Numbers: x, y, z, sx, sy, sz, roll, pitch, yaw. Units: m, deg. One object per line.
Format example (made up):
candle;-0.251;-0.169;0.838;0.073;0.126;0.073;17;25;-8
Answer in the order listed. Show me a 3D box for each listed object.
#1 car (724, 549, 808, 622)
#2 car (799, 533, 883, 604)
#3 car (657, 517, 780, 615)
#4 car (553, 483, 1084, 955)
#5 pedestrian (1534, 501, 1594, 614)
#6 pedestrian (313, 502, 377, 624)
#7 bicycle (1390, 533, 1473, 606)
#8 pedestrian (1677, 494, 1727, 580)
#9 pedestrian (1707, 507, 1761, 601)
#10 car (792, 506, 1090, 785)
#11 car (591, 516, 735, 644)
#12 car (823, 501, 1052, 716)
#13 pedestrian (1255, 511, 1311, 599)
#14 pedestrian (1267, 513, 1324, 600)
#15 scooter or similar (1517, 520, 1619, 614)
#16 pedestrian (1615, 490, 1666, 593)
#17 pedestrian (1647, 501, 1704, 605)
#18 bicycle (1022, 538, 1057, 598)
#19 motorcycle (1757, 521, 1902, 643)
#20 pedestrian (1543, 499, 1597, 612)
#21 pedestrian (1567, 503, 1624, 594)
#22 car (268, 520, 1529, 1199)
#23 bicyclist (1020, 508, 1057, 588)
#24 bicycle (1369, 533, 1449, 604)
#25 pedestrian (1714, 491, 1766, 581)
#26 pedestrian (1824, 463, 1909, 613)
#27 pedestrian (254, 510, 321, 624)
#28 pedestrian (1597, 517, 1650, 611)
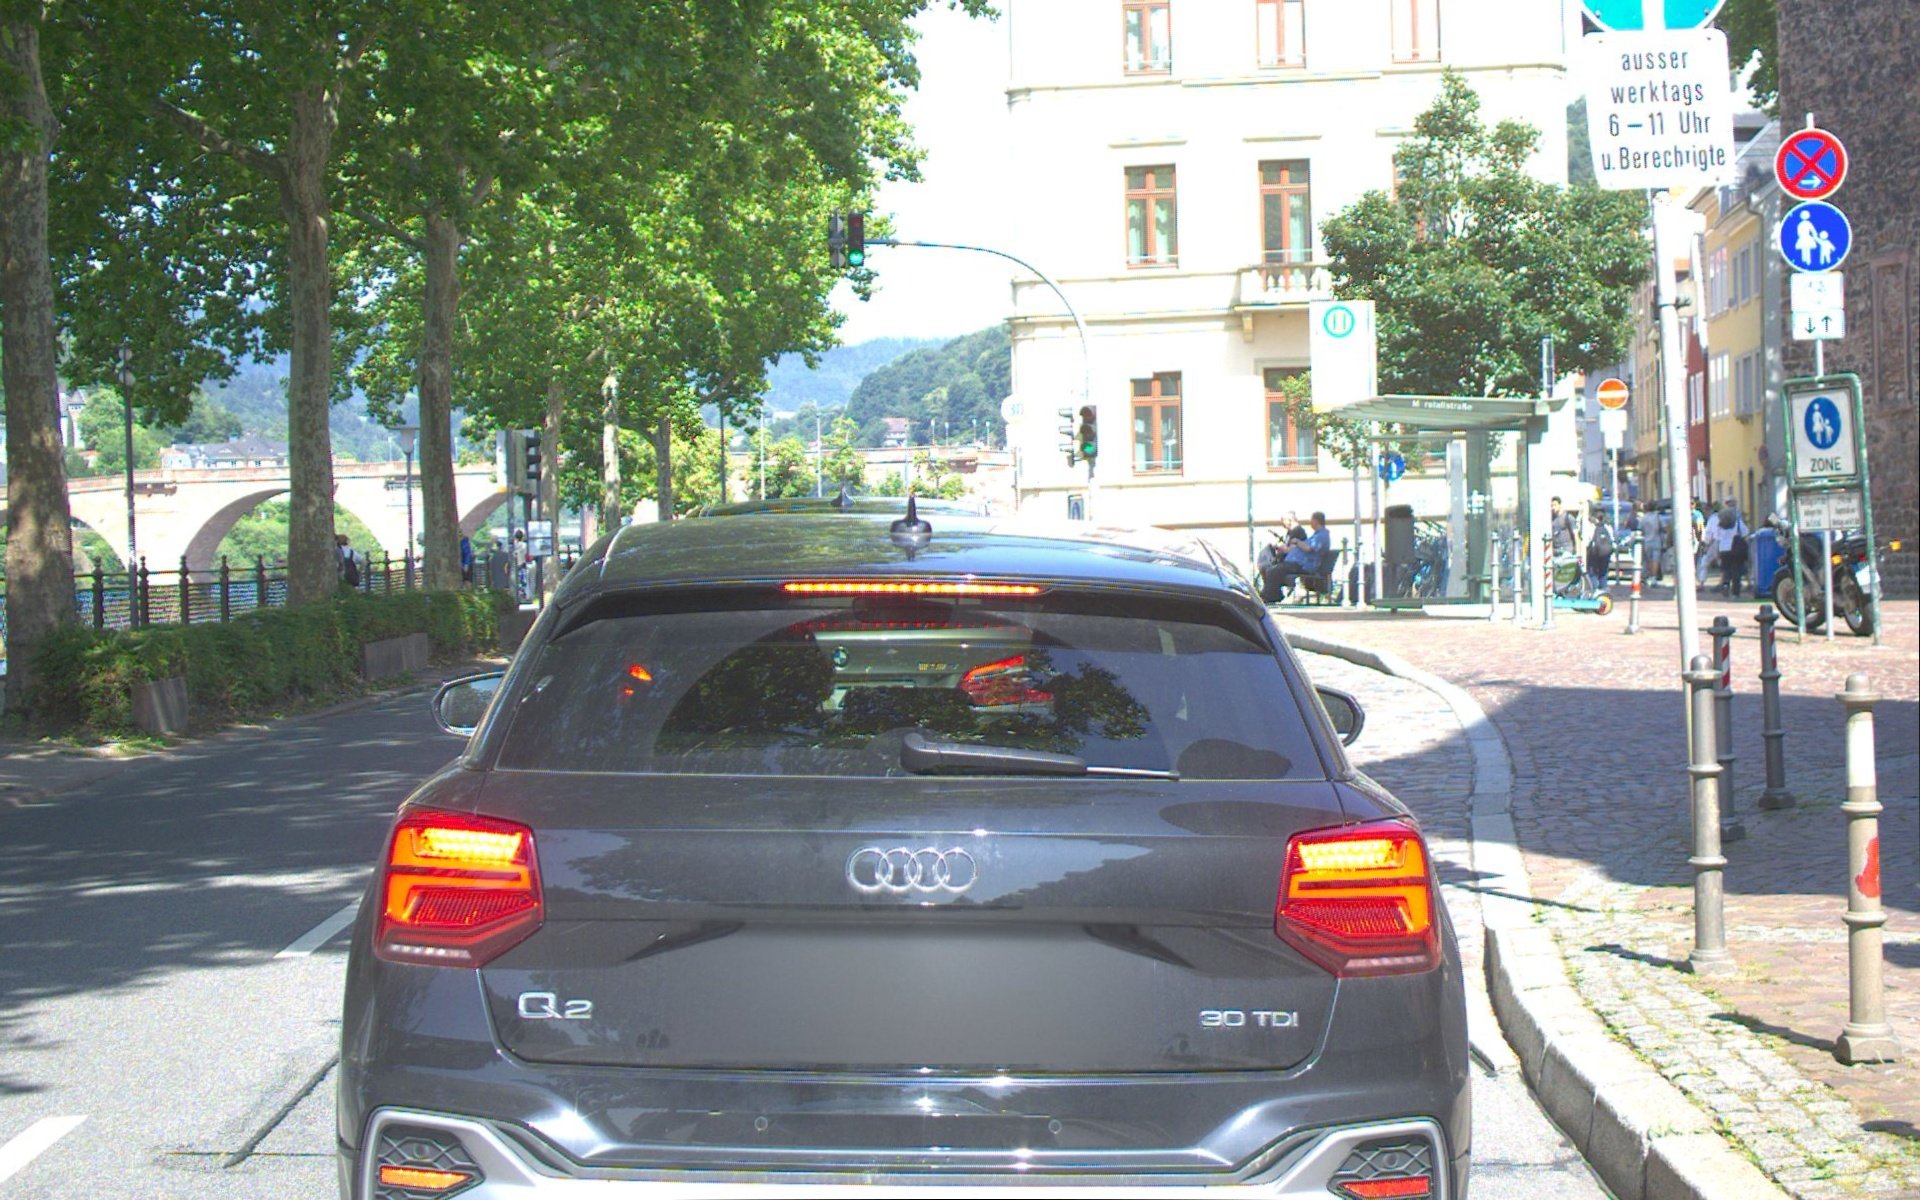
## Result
car;-4.680;-0.371;83.491;1.738;1.566;4.092;-4;1;0
car;-3.100;-0.825;90.455;1.993;1.800;4.000;1;0;1
car;-4.505;-0.665;64.590;1.769;1.654;4.000;-4;1;2
car;-0.504;0.372;13.464;1.793;1.589;3.399;1;1;-1
pedestrian;10.180;-0.722;57.958;0.749;1.884;0.751;0;1;32
pedestrian;-10.261;-0.614;57.346;0.911;2.007;0.585;1;0;4
bicycle;6.714;-0.433;48.973;1.201;1.031;0.179;1;0;-19
pedestrian;13.803;-1.171;63.976;0.776;1.559;0.645;-2;1;5
pedestrian;13.697;-0.815;60.822;0.692;1.607;0.890;-2;1;25
car;-0.130;0.224;21.630;1.710;1.603;3.655;0;1;-1
car;-4.224;-0.324;49.386;1.673;1.654;4.223;-4;1;-1
car;-0.200;0.026;29.111;1.794;1.676;4.000;1;1;-1
pedestrian;4.591;-0.638;48.913;0.663;1.227;0.641;1;0;-6
pedestrian;4.698;-0.605;48.191;0.663;1.207;0.641;1;0;-6
scooter or similar;6.964;-0.376;39.402;1.088;1.062;0.323;1;0;-2
pedestrian;13.446;-1.158;67.925;0.839;2.007;0.738;1;0;0
pedestrian;14.059;-0.919;67.549;0.940;2.007;0.807;1;0;1
bicycle;1.443;-0.586;62.554;0.437;1.082;1.677;1;0;-5
motorcycle;7.602;-0.180;30.155;0.566;1.009;2.490;-1;1;-2
pedestrian;7.557;-0.553;42.585;0.557;1.380;0.588;1;0;2
pedestrian;10.307;-0.841;55.765;0.638;1.439;0.799;-2;1;-7
car;-0.112;0.615;6.617;1.743;1.504;3.647;1;1;-1
bicyclist;1.424;-0.938;62.522;0.605;1.445;0.591;1;0;-5
bicycle;6.478;-0.450;49.608;1.184;1.012;0.179;1;0;-19
pedestrian;14.346;-1.184;63.240;0.776;1.616;0.645;-2;1;2
pedestrian;10.188;-0.695;38.628;0.808;1.656;0.655;-1;1;23
pedestrian;-10.742;-0.523;54.914;0.911;1.805;0.585;1;0;4
pedestrian;14.274;-0.769;73.994;0.944;2.007;0.807;1;0;0
